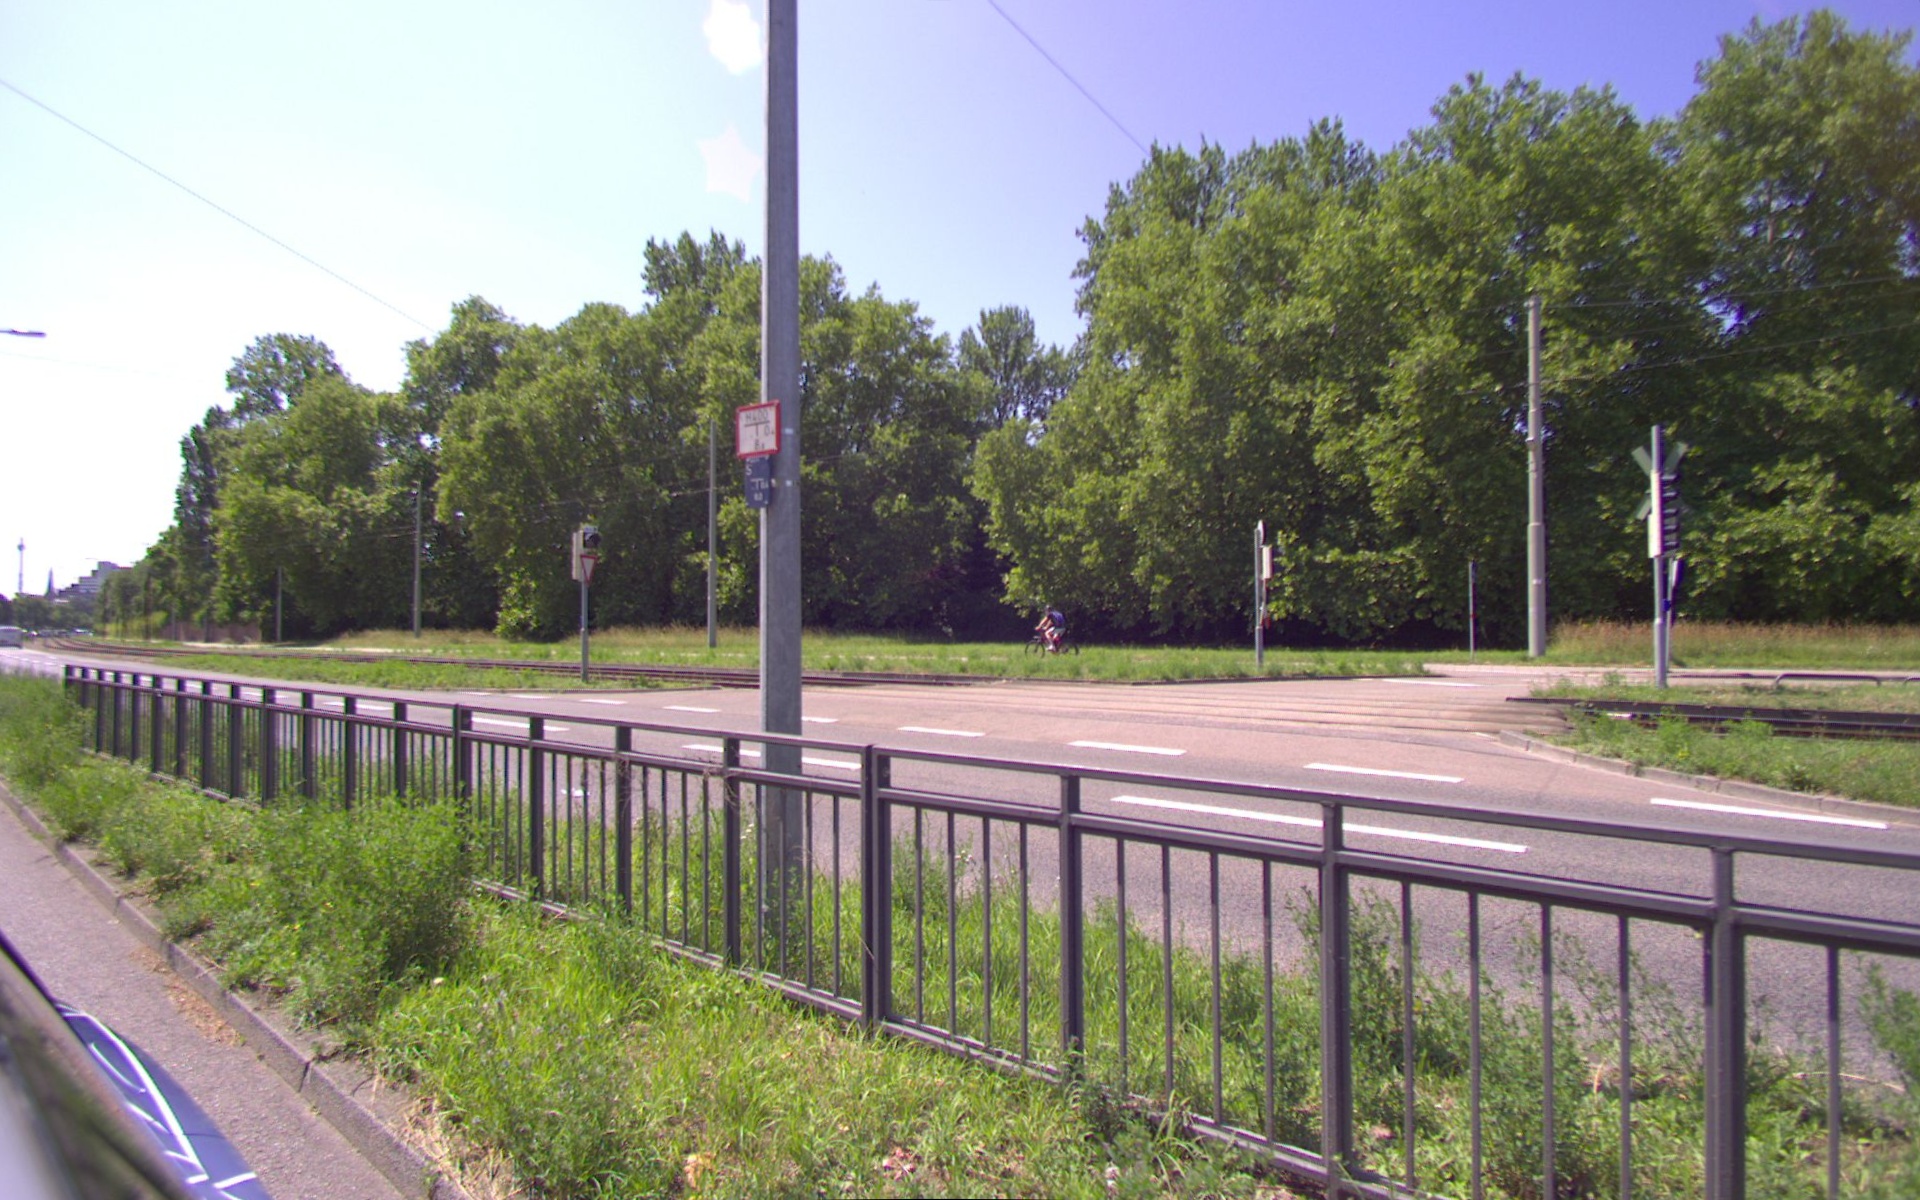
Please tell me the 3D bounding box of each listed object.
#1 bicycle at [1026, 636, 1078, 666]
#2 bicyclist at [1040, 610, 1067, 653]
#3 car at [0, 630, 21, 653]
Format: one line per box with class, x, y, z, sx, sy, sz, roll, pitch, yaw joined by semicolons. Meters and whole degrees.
bicycle;2.880;1.593;31.757;1.562;0.908;0.503;-1;-1;34
bicyclist;2.937;0.991;31.766;0.679;1.346;0.503;-1;-1;34
car;-87.046;3.816;91.905;5.027;2.029;1.973;-2;-4;41
